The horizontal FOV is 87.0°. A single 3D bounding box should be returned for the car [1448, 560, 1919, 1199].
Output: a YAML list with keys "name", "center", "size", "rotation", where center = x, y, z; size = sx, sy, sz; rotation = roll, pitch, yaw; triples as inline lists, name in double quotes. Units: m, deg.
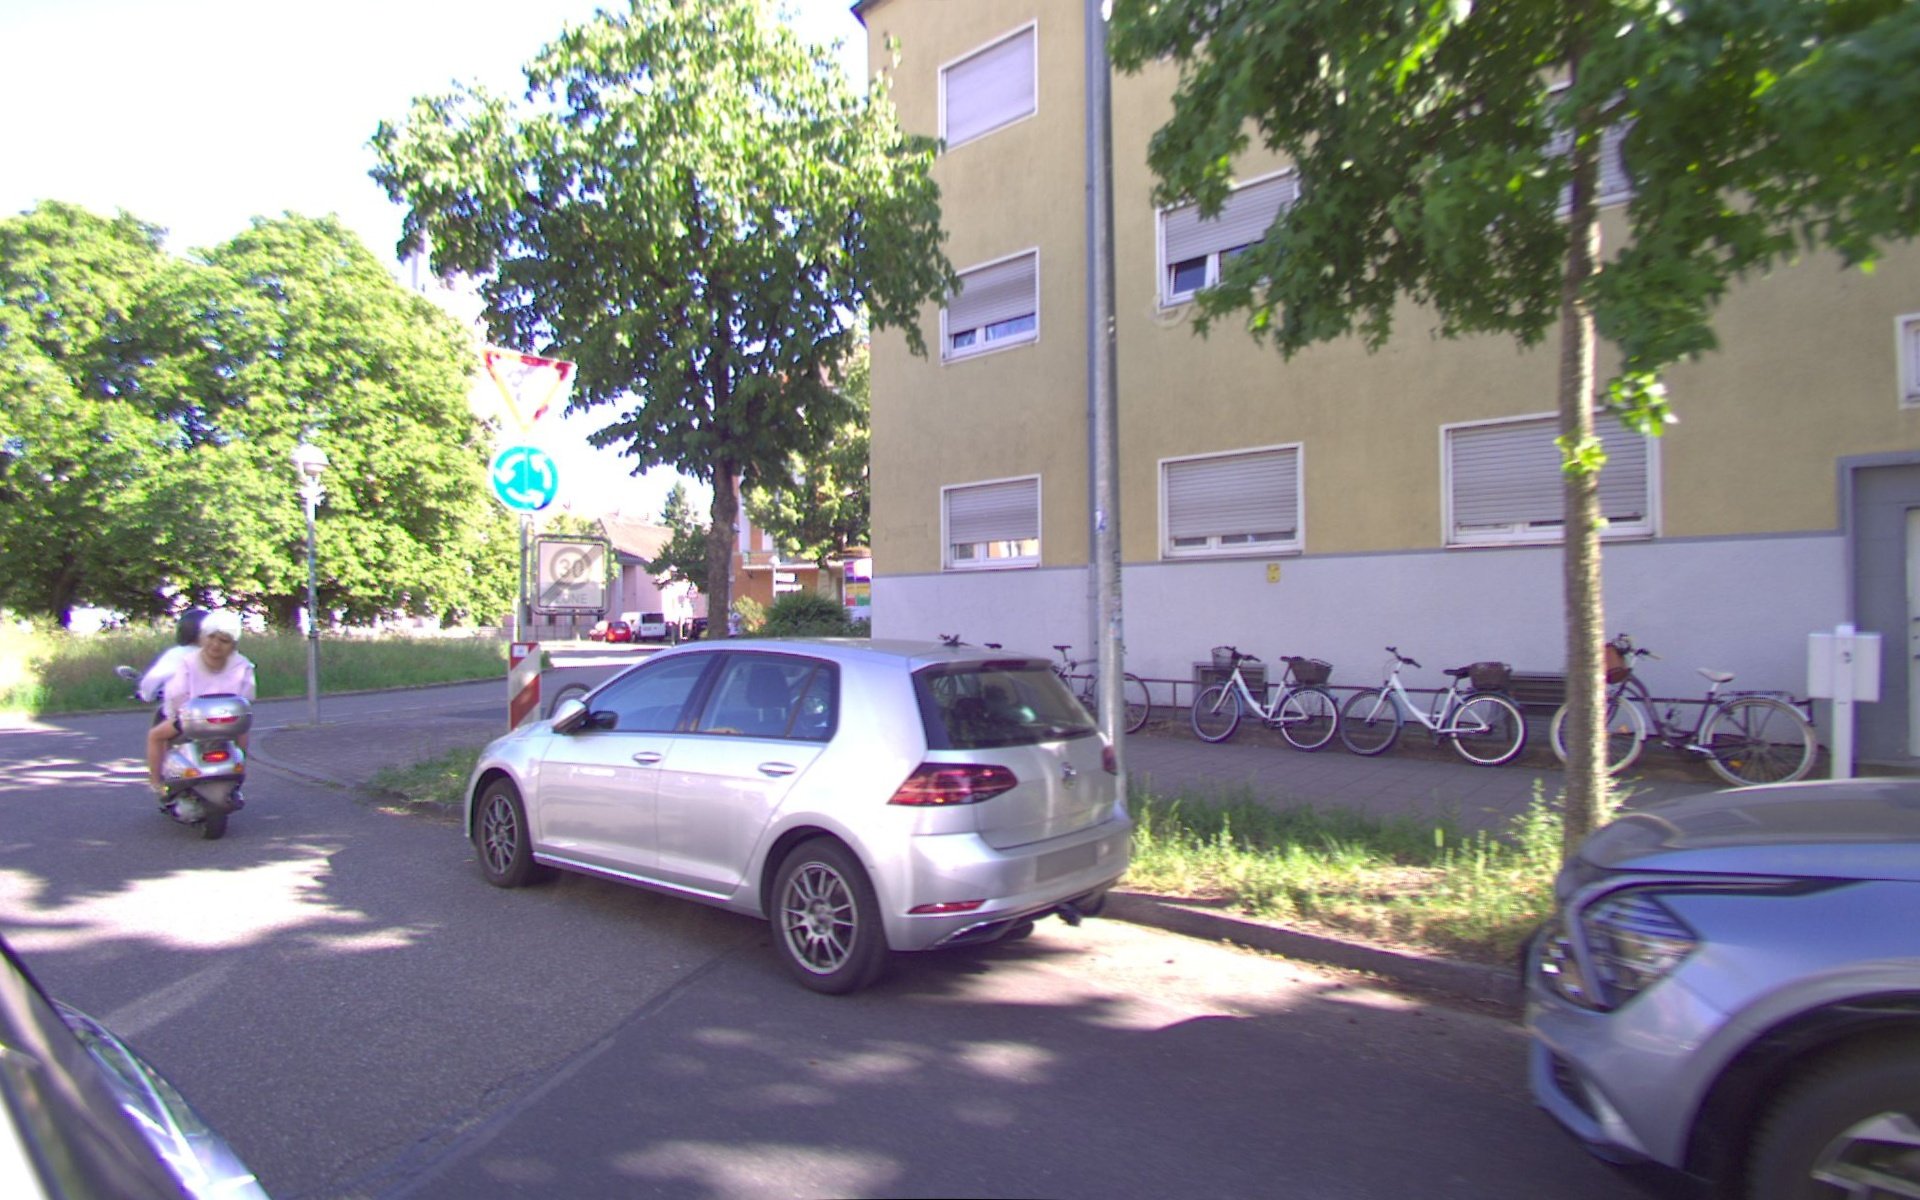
- name: "car"
  center: [3.470, 0.689, 1.435]
  size: [4.731, 1.577, 1.674]
  rotation: [-2, -2, 40]

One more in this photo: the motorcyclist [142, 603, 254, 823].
- name: "motorcyclist"
  center: [-5.251, 0.748, 6.978]
  size: [0.403, 1.437, 0.538]
  rotation: [-2, -2, 41]

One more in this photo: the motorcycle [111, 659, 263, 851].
- name: "motorcycle"
  center: [-5.562, 1.040, 7.250]
  size: [1.632, 1.184, 0.547]
  rotation: [-2, -2, 41]

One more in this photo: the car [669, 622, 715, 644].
- name: "car"
  center: [-19.195, 2.368, 72.358]
  size: [1.716, 1.491, 4.007]
  rotation: [1, -2, -39]

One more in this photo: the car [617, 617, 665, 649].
- name: "car"
  center: [-20.980, 2.160, 66.509]
  size: [1.967, 2.029, 4.010]
  rotation: [1, -2, -34]

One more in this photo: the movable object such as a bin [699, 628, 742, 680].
- name: "movable object such as a bin"
  center: [-5.641, 1.261, 23.900]
  size: [0.759, 1.205, 0.843]
  rotation: [-1, -2, 5]

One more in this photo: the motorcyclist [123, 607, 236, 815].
- name: "motorcyclist"
  center: [-5.611, 0.765, 7.282]
  size: [0.519, 1.413, 0.547]
  rotation: [-2, -2, 41]

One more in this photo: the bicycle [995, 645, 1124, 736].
- name: "bicycle"
  center: [1.156, 1.039, 11.981]
  size: [1.544, 1.008, 0.448]
  rotation: [-2, -2, 42]

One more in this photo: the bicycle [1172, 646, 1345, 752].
- name: "bicycle"
  center: [3.059, 0.989, 10.492]
  size: [1.681, 1.008, 0.430]
  rotation: [-2, -2, 42]

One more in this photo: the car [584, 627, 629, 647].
- name: "car"
  center: [-22.420, 2.322, 64.148]
  size: [1.739, 1.187, 4.010]
  rotation: [0, -2, -34]

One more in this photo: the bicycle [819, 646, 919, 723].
- name: "bicycle"
  center: [-1.299, 1.163, 14.222]
  size: [1.544, 1.008, 0.471]
  rotation: [-2, -2, 42]

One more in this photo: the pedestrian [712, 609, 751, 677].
- name: "pedestrian"
  center: [-5.586, 1.052, 24.705]
  size: [0.665, 1.628, 0.686]
  rotation: [-2, -2, 44]

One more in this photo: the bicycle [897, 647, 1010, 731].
- name: "bicycle"
  center: [-0.106, 1.117, 13.093]
  size: [1.544, 1.008, 0.470]
  rotation: [-2, -2, 42]

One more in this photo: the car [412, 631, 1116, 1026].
- name: "car"
  center: [-1.302, 0.918, 5.722]
  size: [3.989, 1.453, 1.743]
  rotation: [-2, -2, 38]

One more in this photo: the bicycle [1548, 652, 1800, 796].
- name: "bicycle"
  center: [5.602, 0.928, 8.009]
  size: [1.545, 1.008, 0.509]
  rotation: [-2, -2, 45]

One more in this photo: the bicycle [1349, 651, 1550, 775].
- name: "bicycle"
  center: [4.397, 0.977, 9.162]
  size: [1.544, 1.008, 0.506]
  rotation: [-2, -2, 42]
